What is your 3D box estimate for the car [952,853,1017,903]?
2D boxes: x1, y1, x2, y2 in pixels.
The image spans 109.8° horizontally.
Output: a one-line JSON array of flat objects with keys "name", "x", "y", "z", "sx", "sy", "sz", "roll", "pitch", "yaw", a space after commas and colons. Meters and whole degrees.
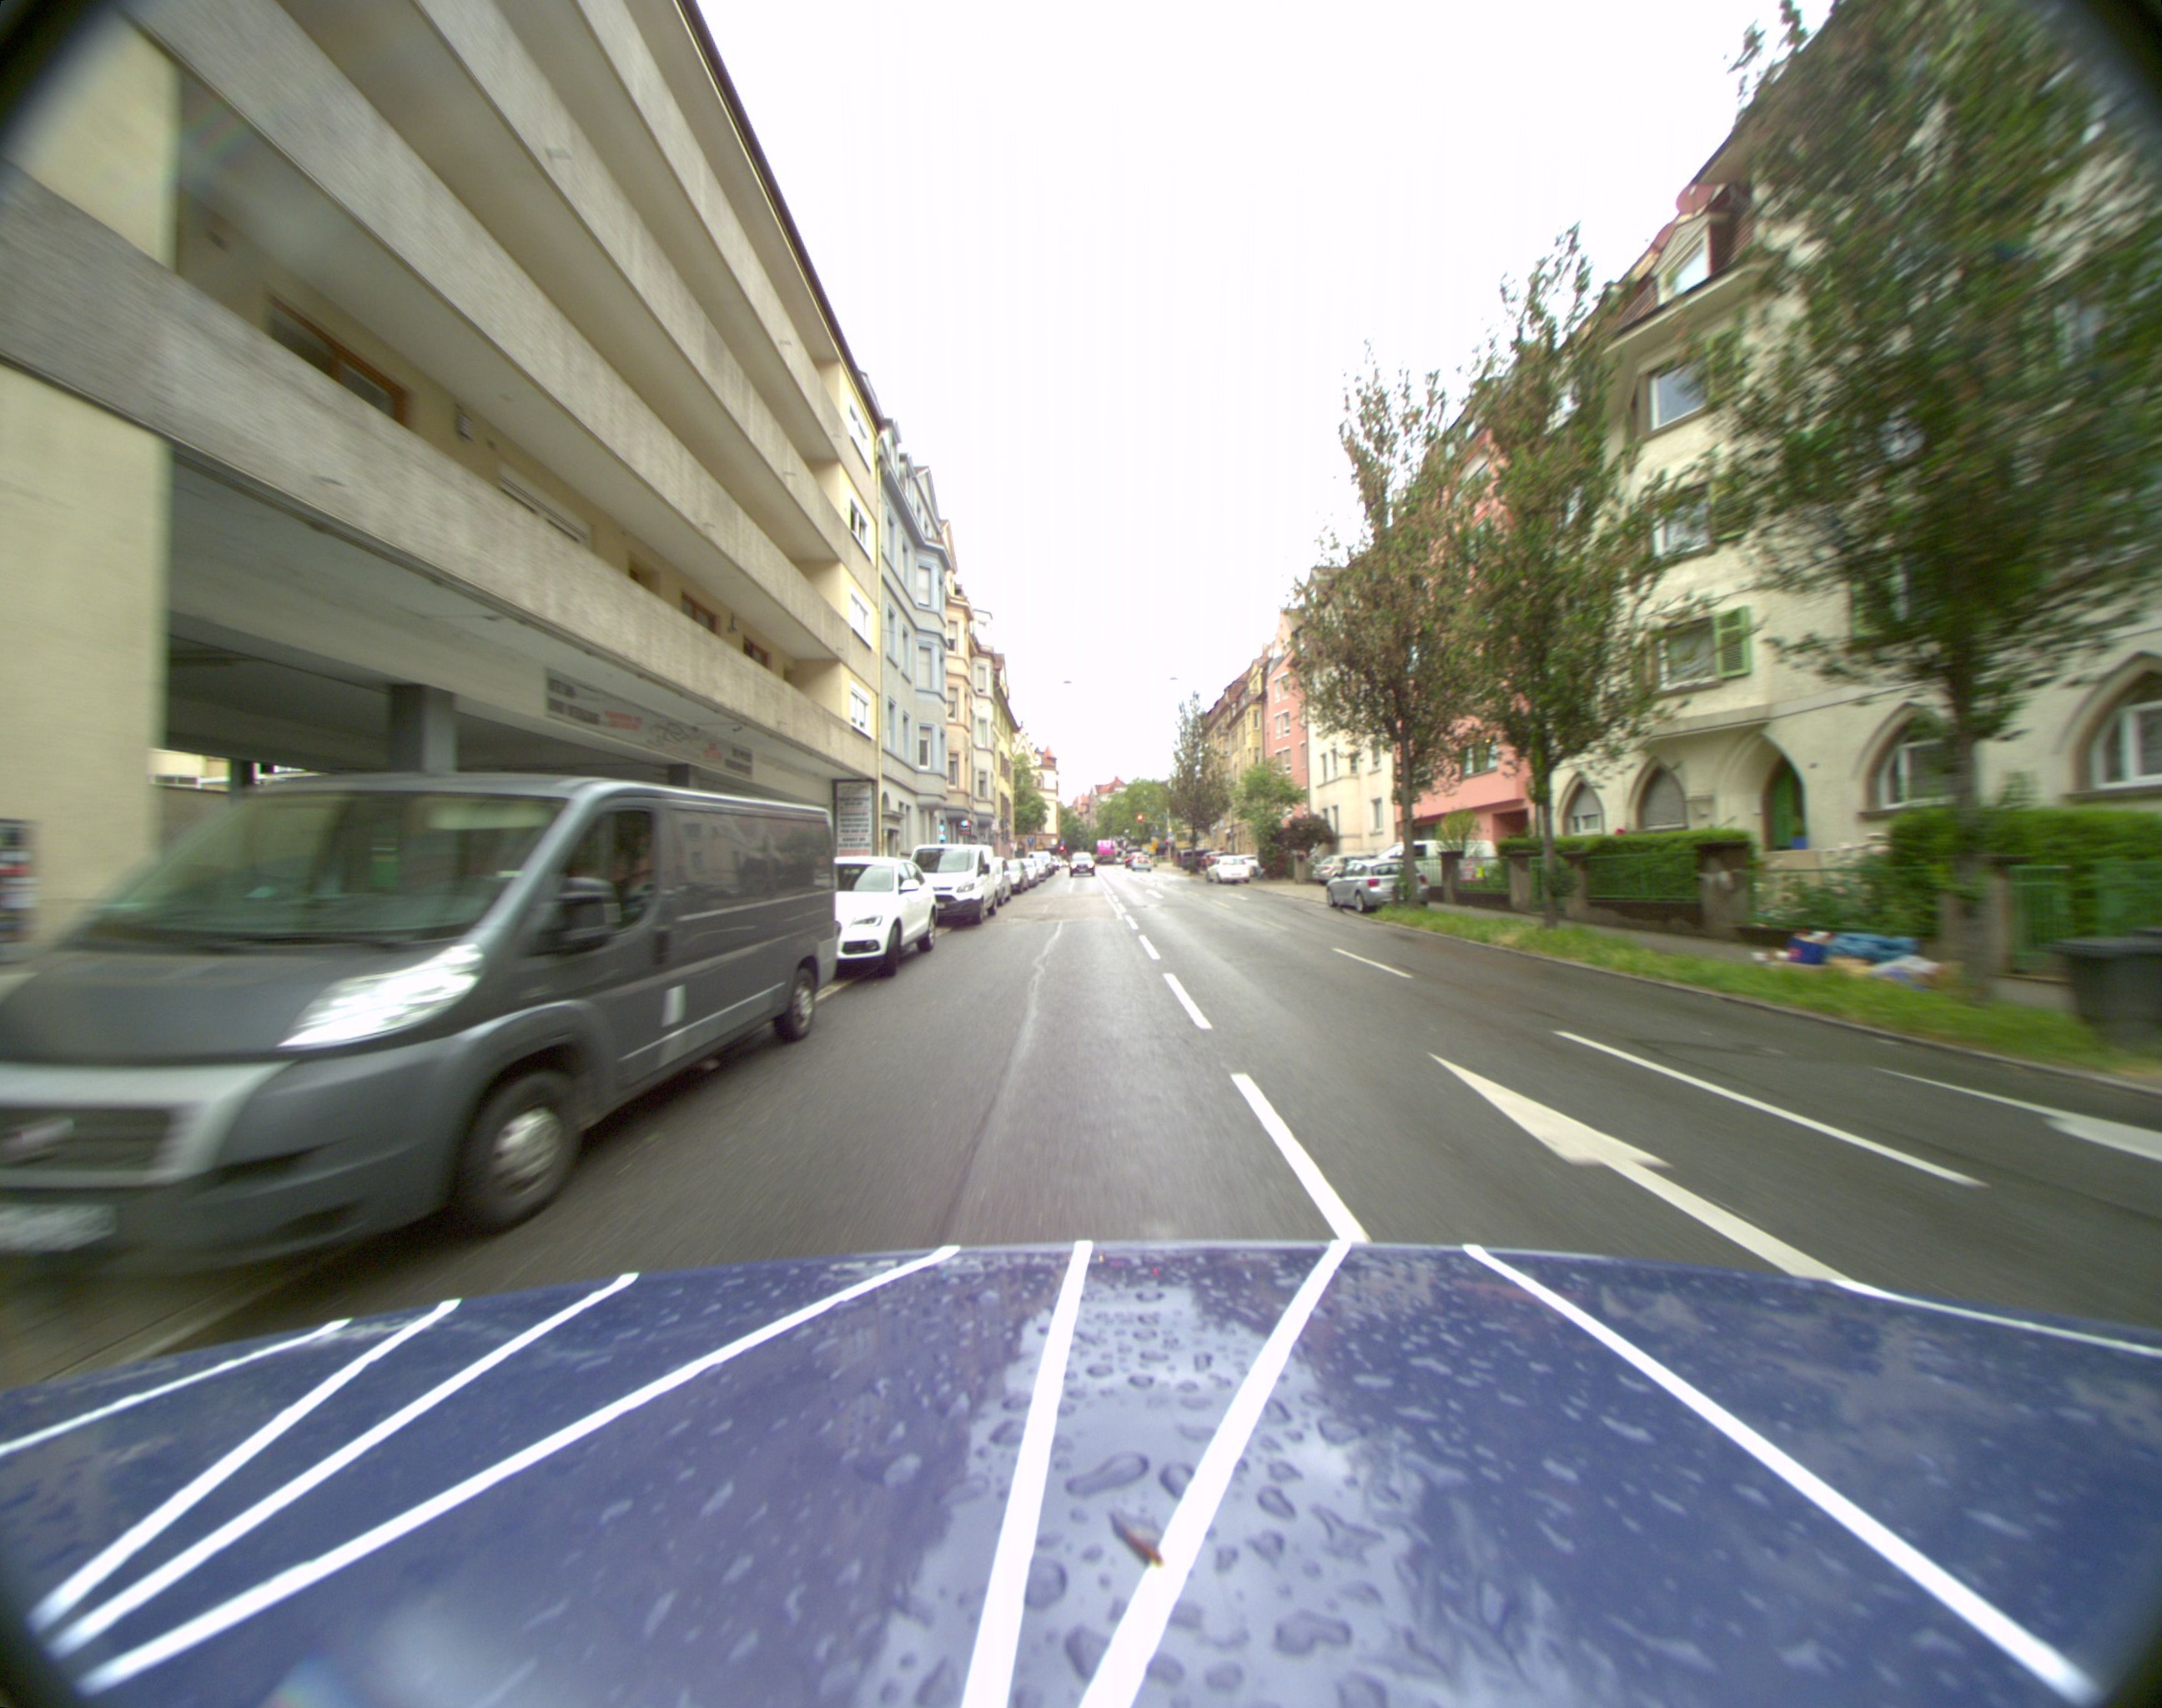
[{"name": "car", "x": -3.347, "y": 0.792, "z": 27.077, "sx": 1.731, "sy": 1.588, "sz": 4.311, "roll": 1, "pitch": 0, "yaw": 0}]

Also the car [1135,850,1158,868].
[{"name": "car", "x": 6.167, "y": 0.433, "z": 71.475, "sx": 1.772, "sy": 1.540, "sz": 3.652, "roll": -3, "pitch": 1, "yaw": 0}]

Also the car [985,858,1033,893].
[{"name": "car", "x": -3.248, "y": 0.923, "z": 34.831, "sx": 1.731, "sy": 1.434, "sz": 4.358, "roll": 0, "pitch": 0, "yaw": 0}]

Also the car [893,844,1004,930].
[{"name": "car", "x": -3.267, "y": 0.744, "z": 19.739, "sx": 1.994, "sy": 1.944, "sz": 4.822, "roll": 0, "pitch": 0, "yaw": 0}]

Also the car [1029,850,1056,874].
[{"name": "car", "x": -2.914, "y": 0.577, "z": 58.547, "sx": 1.826, "sy": 1.808, "sz": 4.519, "roll": 0, "pitch": 0, "yaw": 0}]

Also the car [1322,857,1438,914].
[{"name": "car", "x": 8.343, "y": 0.810, "z": 21.601, "sx": 1.685, "sy": 1.409, "sz": 4.137, "roll": 0, "pitch": 0, "yaw": 1}]

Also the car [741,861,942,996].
[{"name": "car", "x": -3.423, "y": 0.957, "z": 11.758, "sx": 1.751, "sy": 1.630, "sz": 4.272, "roll": 0, "pitch": 0, "yaw": 0}]

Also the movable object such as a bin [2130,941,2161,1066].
[{"name": "movable object such as a bin", "x": 8.255, "y": 1.131, "z": 5.556, "sx": 0.365, "sy": 0.906, "sz": 0.572, "roll": -3, "pitch": 1, "yaw": 0}]

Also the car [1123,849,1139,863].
[{"name": "car", "x": 5.778, "y": 0.245, "z": 87.796, "sx": 1.669, "sy": 1.448, "sz": 3.653, "roll": -2, "pitch": 1, "yaw": 3}]

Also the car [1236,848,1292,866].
[{"name": "car", "x": 13.952, "y": 0.207, "z": 58.037, "sx": 3.929, "sy": 1.289, "sz": 1.646, "roll": -1, "pitch": 1, "yaw": 1}]

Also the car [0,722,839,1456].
[{"name": "car", "x": -3.536, "y": 0.676, "z": 4.955, "sx": 2.159, "sy": 2.136, "sz": 5.509, "roll": 0, "pitch": 0, "yaw": 0}]

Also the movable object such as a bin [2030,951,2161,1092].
[{"name": "movable object such as a bin", "x": 7.477, "y": 1.194, "z": 5.540, "sx": 0.365, "sy": 0.884, "sz": 0.572, "roll": -3, "pitch": 1, "yaw": 0}]

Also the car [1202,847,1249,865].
[{"name": "car", "x": 13.101, "y": 0.192, "z": 69.039, "sx": 3.929, "sy": 1.613, "sz": 1.592, "roll": -1, "pitch": 1, "yaw": 1}]

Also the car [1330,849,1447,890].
[{"name": "car", "x": 12.279, "y": 0.591, "z": 30.507, "sx": 3.929, "sy": 1.389, "sz": 1.759, "roll": -3, "pitch": 1, "yaw": -2}]

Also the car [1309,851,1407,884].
[{"name": "car", "x": 12.840, "y": 0.609, "z": 35.353, "sx": 3.931, "sy": 1.389, "sz": 1.724, "roll": -1, "pitch": 1, "yaw": -6}]

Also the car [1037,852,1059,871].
[{"name": "car", "x": -2.720, "y": 0.588, "z": 63.972, "sx": 1.627, "sy": 1.498, "sz": 3.745, "roll": 0, "pitch": 0, "yaw": 0}]

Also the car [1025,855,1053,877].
[{"name": "car", "x": -2.877, "y": 0.777, "z": 52.820, "sx": 1.709, "sy": 1.434, "sz": 3.932, "roll": 0, "pitch": 0, "yaw": 0}]

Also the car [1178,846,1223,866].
[{"name": "car", "x": 11.196, "y": 0.199, "z": 71.230, "sx": 3.930, "sy": 1.836, "sz": 1.867, "roll": -1, "pitch": 1, "yaw": -2}]

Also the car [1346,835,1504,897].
[{"name": "car", "x": 12.153, "y": 0.398, "z": 27.024, "sx": 4.731, "sy": 1.894, "sz": 1.918, "roll": -3, "pitch": 1, "yaw": -2}]

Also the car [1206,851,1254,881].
[{"name": "car", "x": 8.154, "y": 0.634, "z": 41.946, "sx": 1.670, "sy": 1.464, "sz": 3.651, "roll": -3, "pitch": 1, "yaw": -4}]

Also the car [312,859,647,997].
[{"name": "car", "x": -8.451, "y": 0.909, "z": 10.727, "sx": 4.027, "sy": 1.631, "sz": 1.815, "roll": 0, "pitch": 0, "yaw": 19}]

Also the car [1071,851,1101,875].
[{"name": "car", "x": 0.318, "y": 0.624, "z": 55.204, "sx": 1.890, "sy": 1.543, "sz": 3.999, "roll": -4, "pitch": 1, "yaw": -1}]

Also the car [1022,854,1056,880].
[{"name": "car", "x": -2.571, "y": 0.782, "z": 47.235, "sx": 1.709, "sy": 1.389, "sz": 3.932, "roll": -4, "pitch": 0, "yaw": 1}]

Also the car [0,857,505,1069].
[{"name": "car", "x": -8.253, "y": 0.878, "z": 7.046, "sx": 4.245, "sy": 1.646, "sz": 1.796, "roll": -1, "pitch": 0, "yaw": -14}]

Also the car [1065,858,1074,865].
[{"name": "car", "x": -2.183, "y": 1.406, "z": 145.614, "sx": 1.553, "sy": 1.386, "sz": 3.745, "roll": 0, "pitch": 0, "yaw": 0}]

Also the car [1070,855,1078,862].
[{"name": "car", "x": -1.396, "y": 0.868, "z": 154.754, "sx": 1.553, "sy": 1.386, "sz": 3.745, "roll": 0, "pitch": 0, "yaw": 0}]

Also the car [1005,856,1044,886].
[{"name": "car", "x": -2.929, "y": 0.861, "z": 40.245, "sx": 1.709, "sy": 1.434, "sz": 3.932, "roll": 0, "pitch": 0, "yaw": 0}]
